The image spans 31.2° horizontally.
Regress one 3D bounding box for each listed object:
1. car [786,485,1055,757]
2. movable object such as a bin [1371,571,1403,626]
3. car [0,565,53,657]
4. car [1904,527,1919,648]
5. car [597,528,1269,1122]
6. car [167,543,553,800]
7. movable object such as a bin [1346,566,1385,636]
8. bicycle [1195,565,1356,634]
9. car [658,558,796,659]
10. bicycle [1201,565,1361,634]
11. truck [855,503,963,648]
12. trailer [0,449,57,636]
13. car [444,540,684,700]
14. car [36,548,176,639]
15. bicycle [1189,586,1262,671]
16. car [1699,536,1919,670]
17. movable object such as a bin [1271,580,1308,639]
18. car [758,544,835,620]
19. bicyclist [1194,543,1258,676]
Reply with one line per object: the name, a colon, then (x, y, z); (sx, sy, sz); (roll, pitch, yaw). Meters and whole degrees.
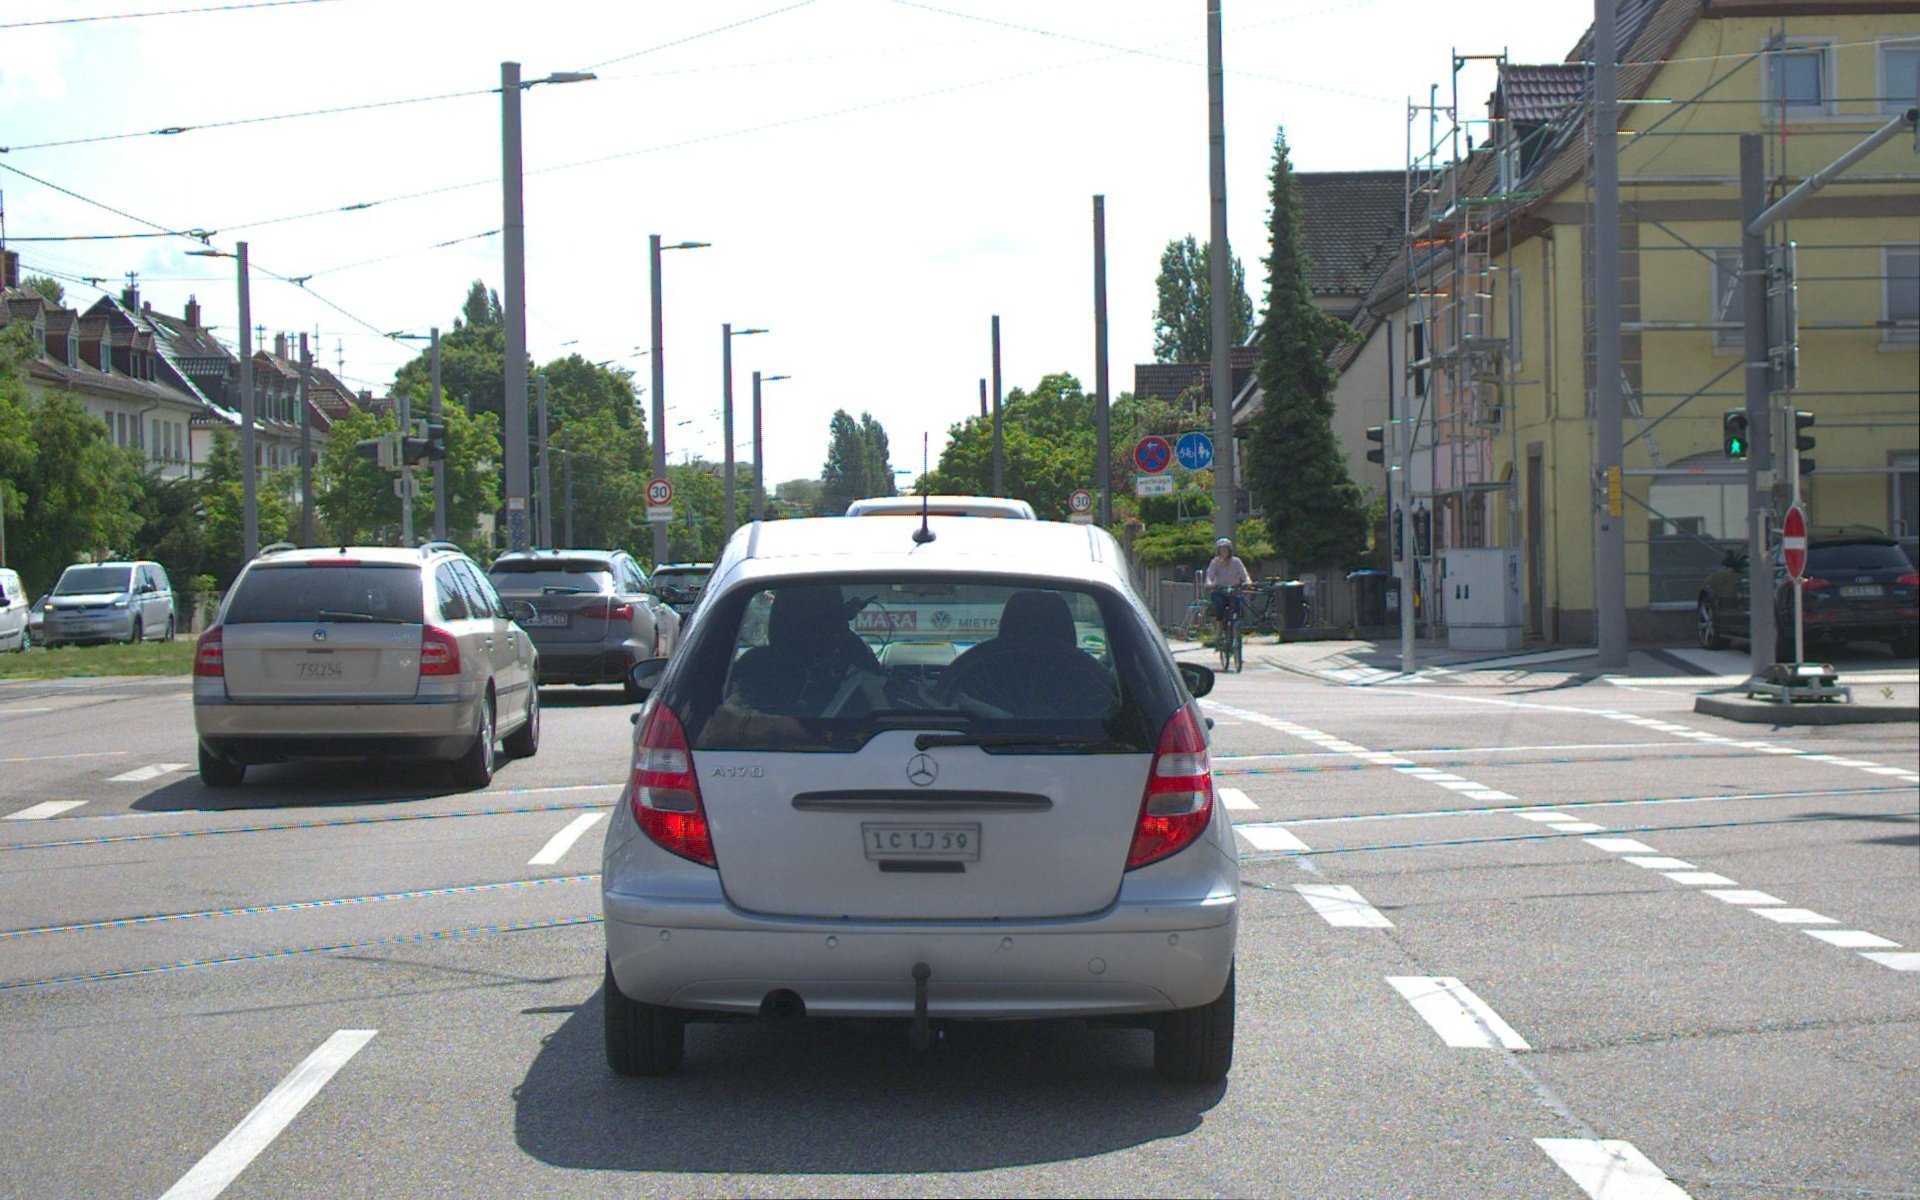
car: (-0.236, 0.135, 24.416); (1.730, 1.756, 4.016); (1, 0, 1)
movable object such as a bin: (7.478, -0.023, 60.178); (0.468, 0.943, 0.558); (-1, 0, -1)
car: (-17.936, 0.225, 62.058); (1.794, 1.631, 4.471); (-2, 0, 1)
car: (13.676, -0.151, 44.060); (1.993, 1.590, 4.131); (1, 0, 0)
car: (-0.162, 0.548, 10.946); (1.730, 1.511, 4.017); (1, 1, -3)
car: (-3.684, 0.375, 21.775); (1.731, 1.444, 4.123); (1, 1, 0)
movable object such as a bin: (6.415, 0.015, 54.406); (0.511, 1.101, 0.855); (0, 0, 0)
bicycle: (5.539, -0.009, 60.487); (2.726, 1.116, 0.691); (-2, 0, -1)
car: (-3.351, 0.116, 50.074); (1.852, 1.384, 4.514); (1, 0, -2)
bicycle: (5.572, -0.015, 59.736); (2.661, 1.101, 0.786); (-2, 0, -1)
truck: (-0.999, -0.439, 63.939); (1.852, 2.543, 5.855); (1, 0, -2)
trailer: (-20.938, -1.032, 67.214); (2.599, 3.808, 12.836); (-3, 1, 2)
car: (-3.866, 0.174, 34.242); (1.916, 1.472, 4.562); (1, 0, -1)
car: (-18.069, -0.139, 72.933); (1.794, 1.809, 4.713); (-2, 0, -1)
bicycle: (3.518, 0.370, 45.714); (0.650, 1.114, 1.588); (1, 0, -7)
car: (10.820, 0.033, 43.539); (1.993, 1.590, 4.131); (1, 0, 0)
movable object such as a bin: (5.206, 0.146, 54.301); (0.511, 0.915, 0.741); (0, 0, 0)
car: (-4.077, -0.433, 86.052); (1.852, 1.837, 3.919); (1, 0, -2)
bicyclist: (3.527, 0.124, 45.661); (0.650, 1.732, 0.984); (1, 0, -7)
